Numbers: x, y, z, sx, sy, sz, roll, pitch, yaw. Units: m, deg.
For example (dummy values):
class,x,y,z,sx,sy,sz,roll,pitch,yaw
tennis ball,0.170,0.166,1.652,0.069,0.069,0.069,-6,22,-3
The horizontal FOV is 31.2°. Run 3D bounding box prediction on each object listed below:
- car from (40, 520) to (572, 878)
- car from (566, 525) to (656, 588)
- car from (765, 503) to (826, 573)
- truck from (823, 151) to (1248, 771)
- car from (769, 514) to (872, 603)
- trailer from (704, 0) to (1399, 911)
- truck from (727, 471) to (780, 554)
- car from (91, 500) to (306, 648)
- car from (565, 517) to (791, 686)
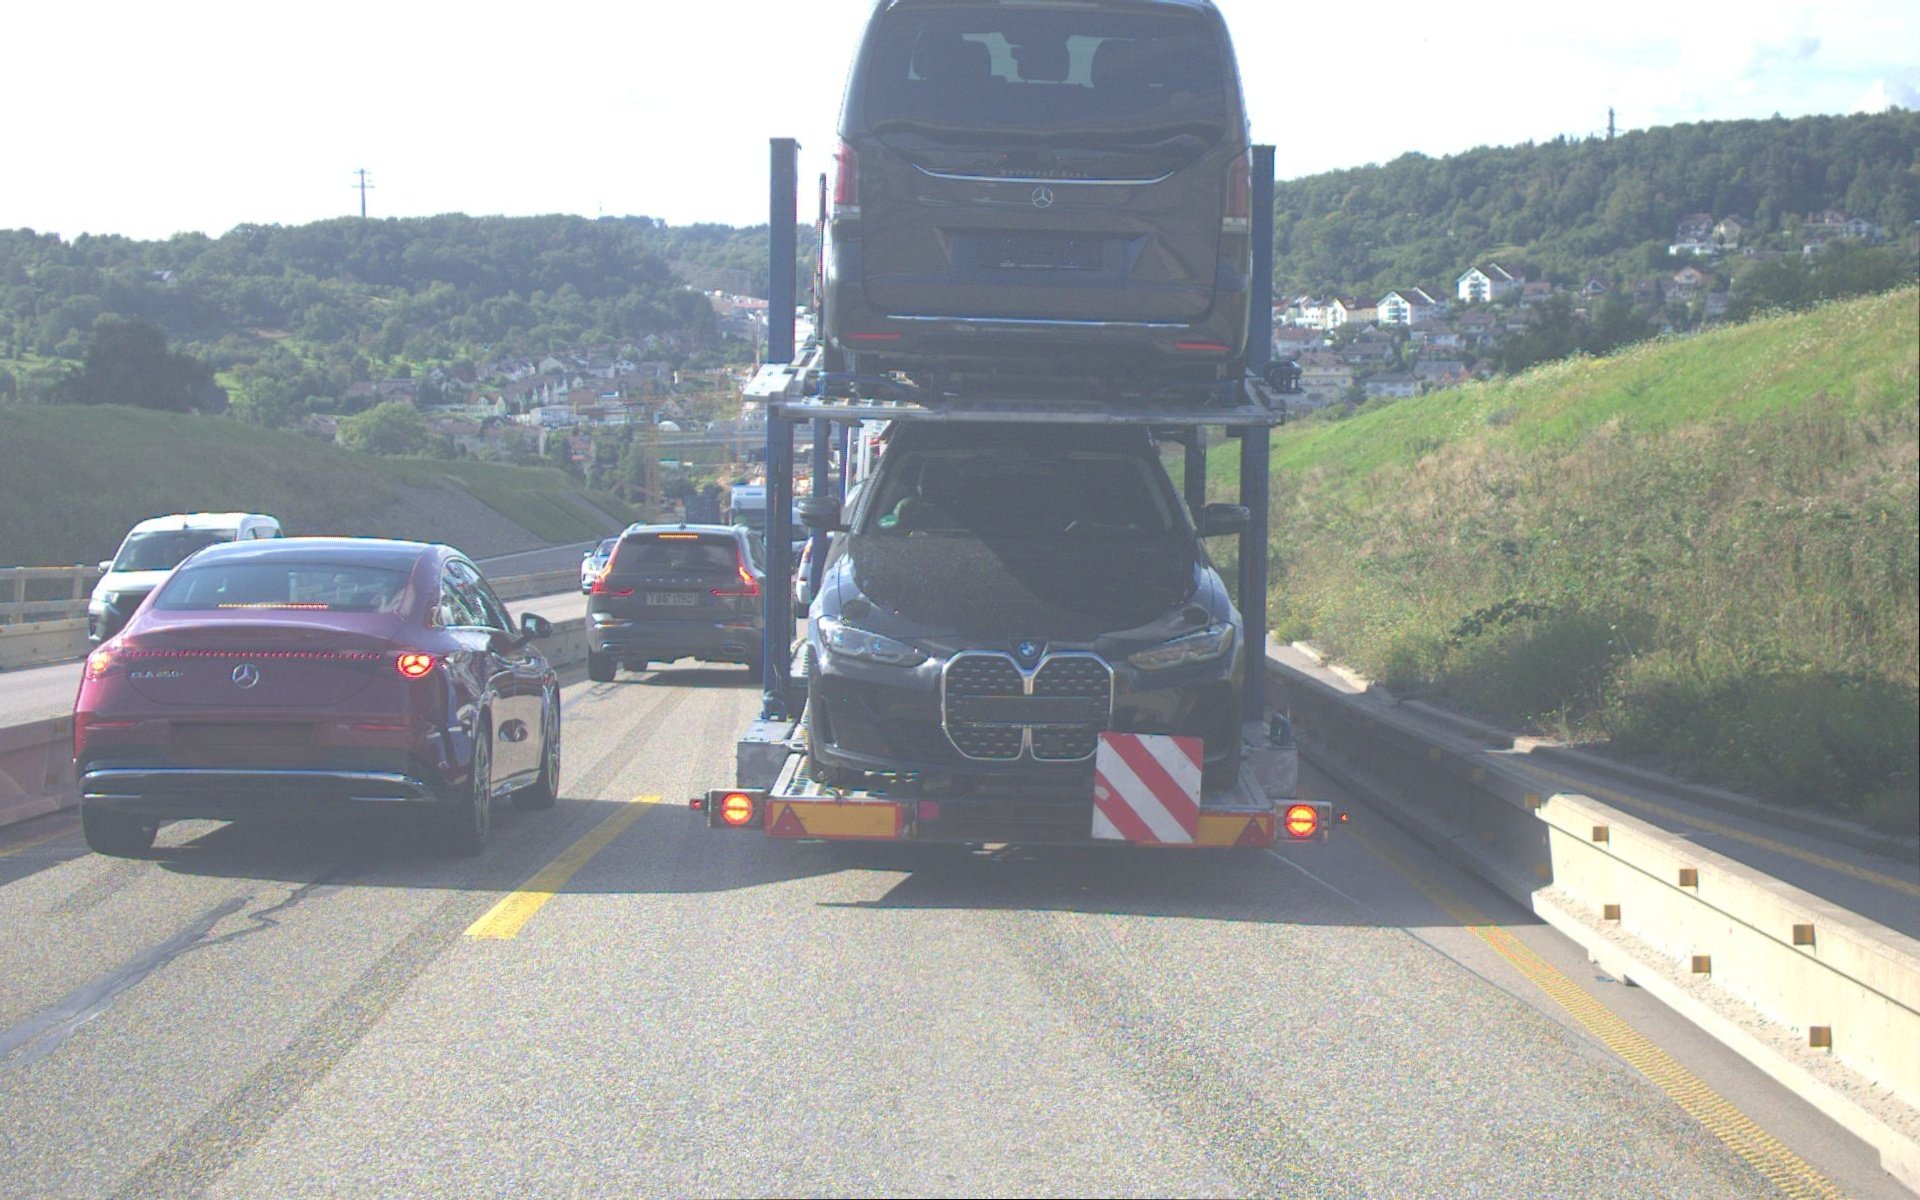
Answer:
class,x,y,z,sx,sy,sz,roll,pitch,yaw
car,-3.086,0.373,17.169,1.823,1.487,4.685,1,2,-1
car,-8.554,-1.082,84.549,1.734,1.420,4.628,-3,1,-1
car,-7.031,-2.654,147.596,2.110,2.826,6.139,-3,1,1
truck,0.524,-0.936,24.696,2.678,3.908,6.027,0,1,1
car,-2.570,-0.807,64.225,1.796,1.591,4.743,0,1,-1
trailer,0.439,-0.912,19.132,2.708,4.015,11.420,0,1,1
truck,-10.559,-4.454,175.572,2.614,4.139,5.782,0,1,-4
car,-9.300,-0.366,42.299,1.734,1.653,4.218,-3,2,-1
car,-2.910,-0.041,36.398,1.993,1.619,4.750,1,1,0
